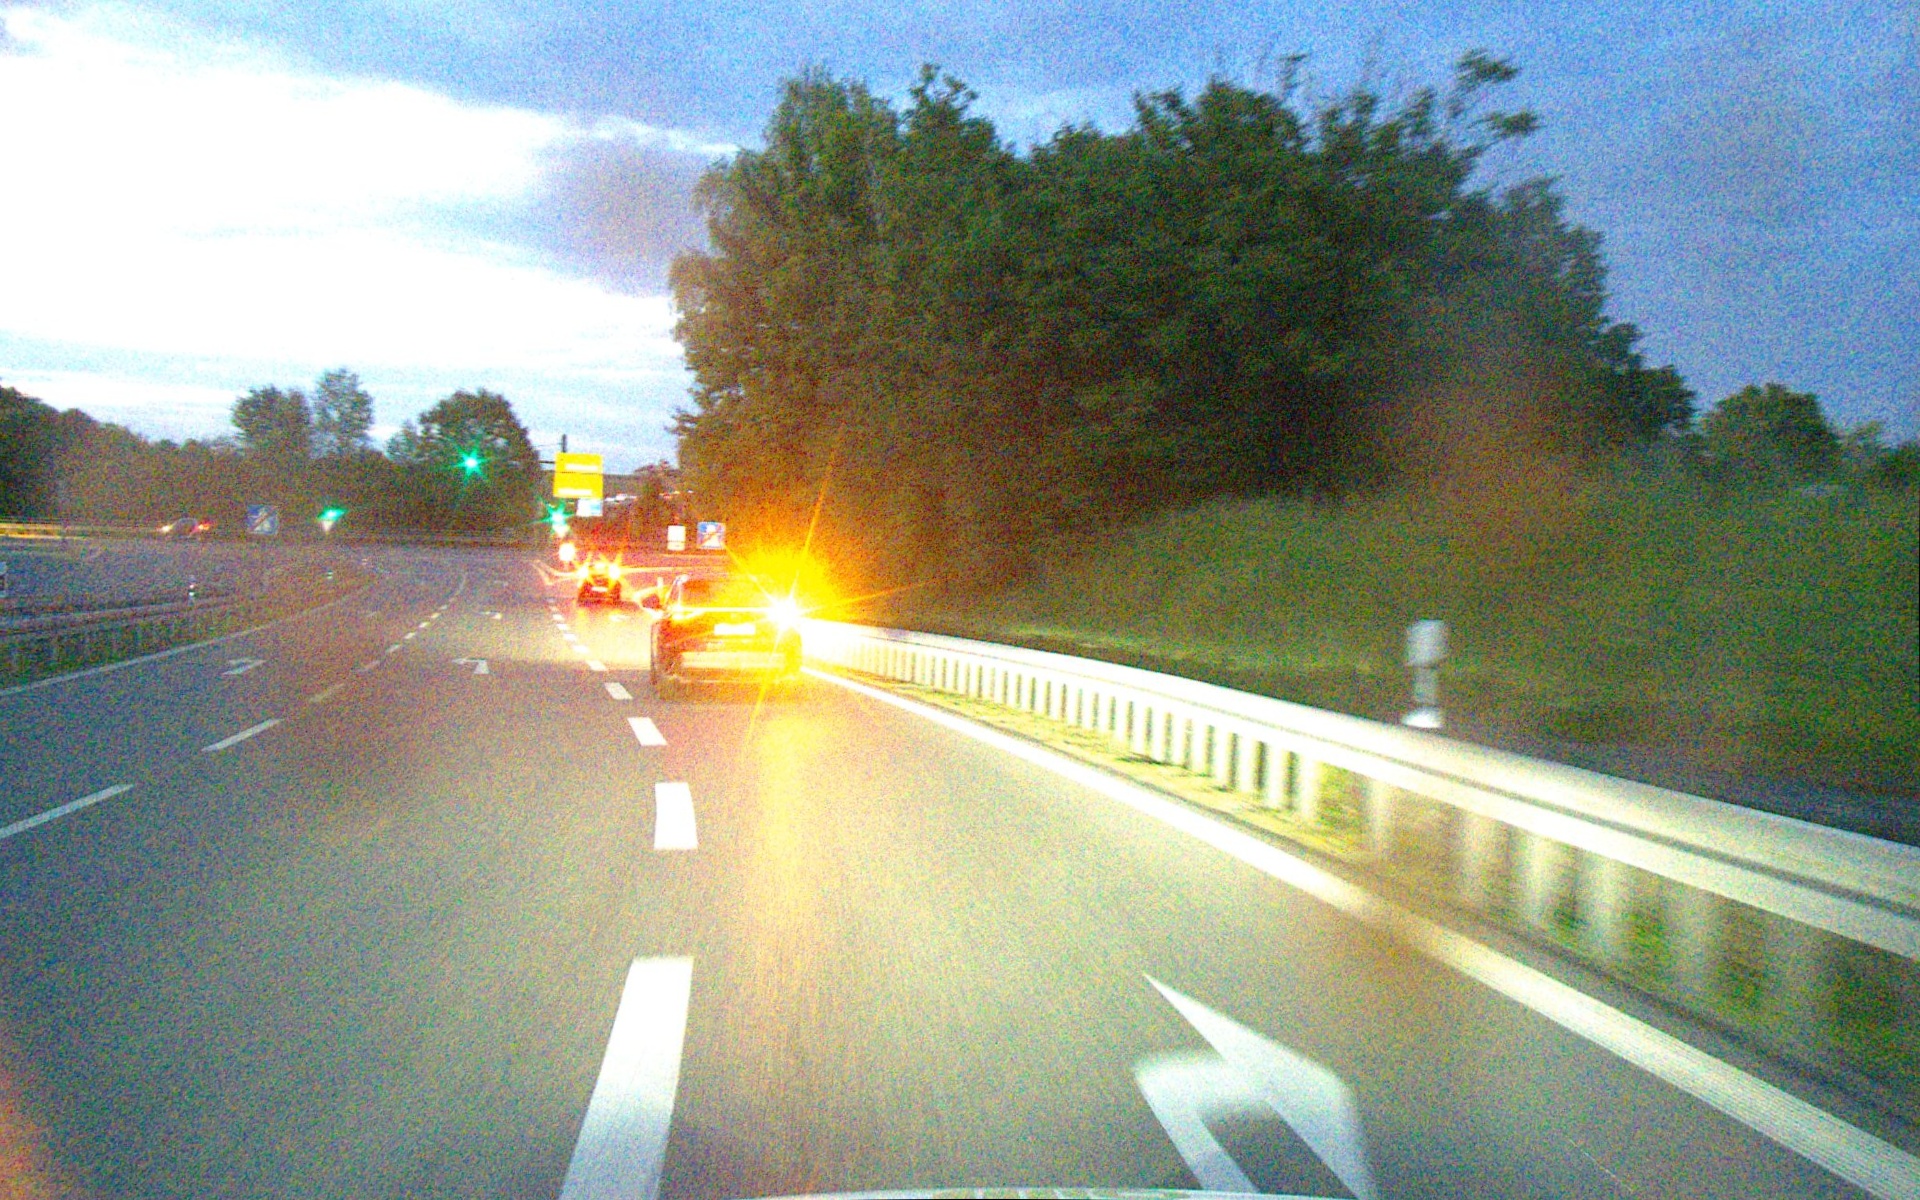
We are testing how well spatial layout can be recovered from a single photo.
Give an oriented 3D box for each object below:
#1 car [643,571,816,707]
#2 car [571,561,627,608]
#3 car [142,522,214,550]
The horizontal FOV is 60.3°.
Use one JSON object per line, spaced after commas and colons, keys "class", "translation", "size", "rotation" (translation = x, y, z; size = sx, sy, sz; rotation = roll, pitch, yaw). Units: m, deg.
{"class": "car", "translation": [-3.251, 0.456, 22.593], "size": [1.869, 1.648, 4.539], "rotation": [0, 0, -14]}
{"class": "car", "translation": [-13.998, -0.571, 63.972], "size": [1.753, 1.682, 3.981], "rotation": [2, -1, -17]}
{"class": "car", "translation": [-49.524, -4.051, 104.761], "size": [3.945, 1.478, 1.980], "rotation": [3, 1, -30]}
